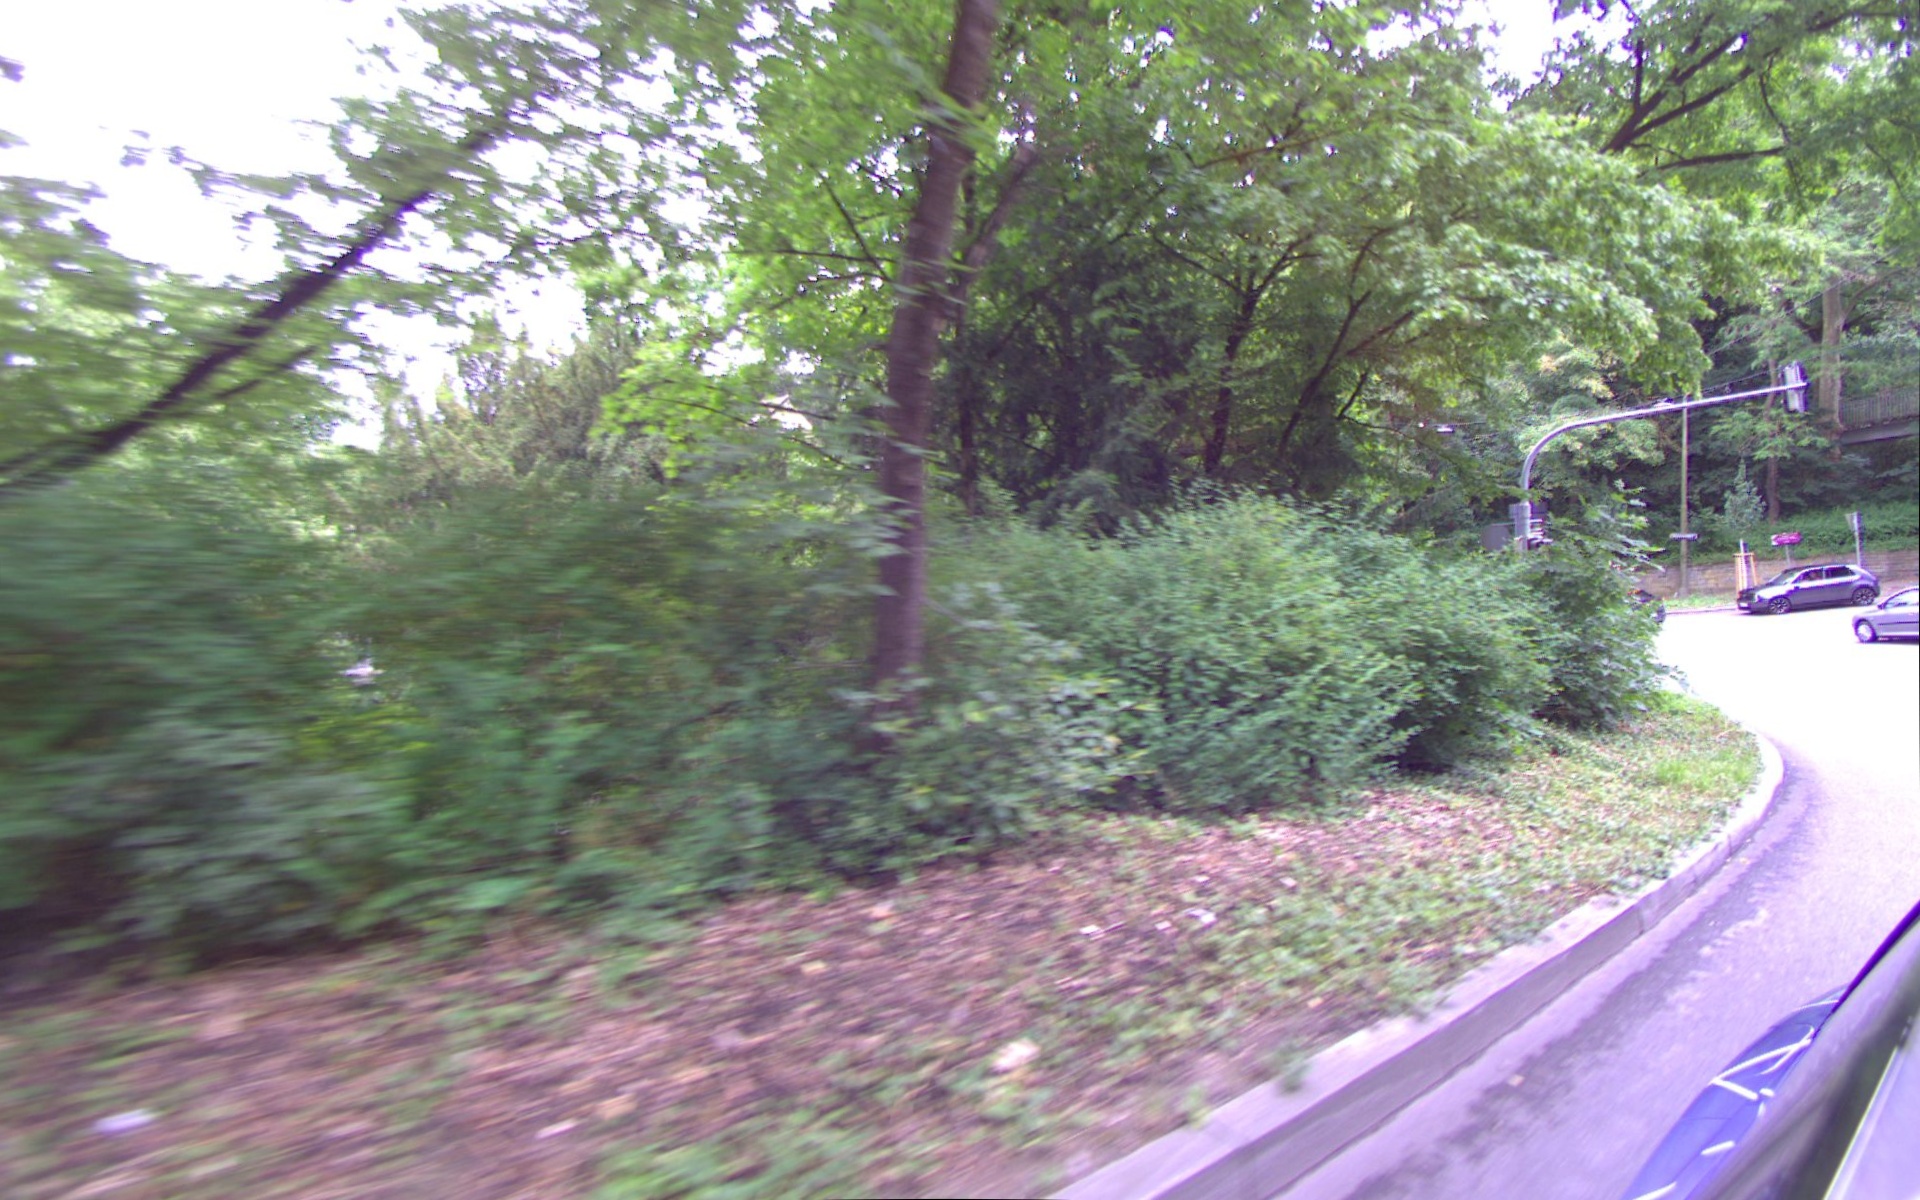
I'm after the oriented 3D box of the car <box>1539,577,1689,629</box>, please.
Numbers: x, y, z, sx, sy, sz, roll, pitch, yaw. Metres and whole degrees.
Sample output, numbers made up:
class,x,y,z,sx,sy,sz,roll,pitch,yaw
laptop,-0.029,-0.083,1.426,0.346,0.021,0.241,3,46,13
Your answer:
class,x,y,z,sx,sy,sz,roll,pitch,yaw
car,22.759,0.154,35.440,1.602,1.562,4.405,-5,-1,-13

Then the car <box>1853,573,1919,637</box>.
class,x,y,z,sx,sy,sz,roll,pitch,yaw
car,23.177,0.083,23.549,1.584,1.436,3.748,-5,-1,6

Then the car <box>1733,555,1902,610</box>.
class,x,y,z,sx,sy,sz,roll,pitch,yaw
car,29.537,-0.611,34.992,3.941,1.374,1.747,-7,0,14
